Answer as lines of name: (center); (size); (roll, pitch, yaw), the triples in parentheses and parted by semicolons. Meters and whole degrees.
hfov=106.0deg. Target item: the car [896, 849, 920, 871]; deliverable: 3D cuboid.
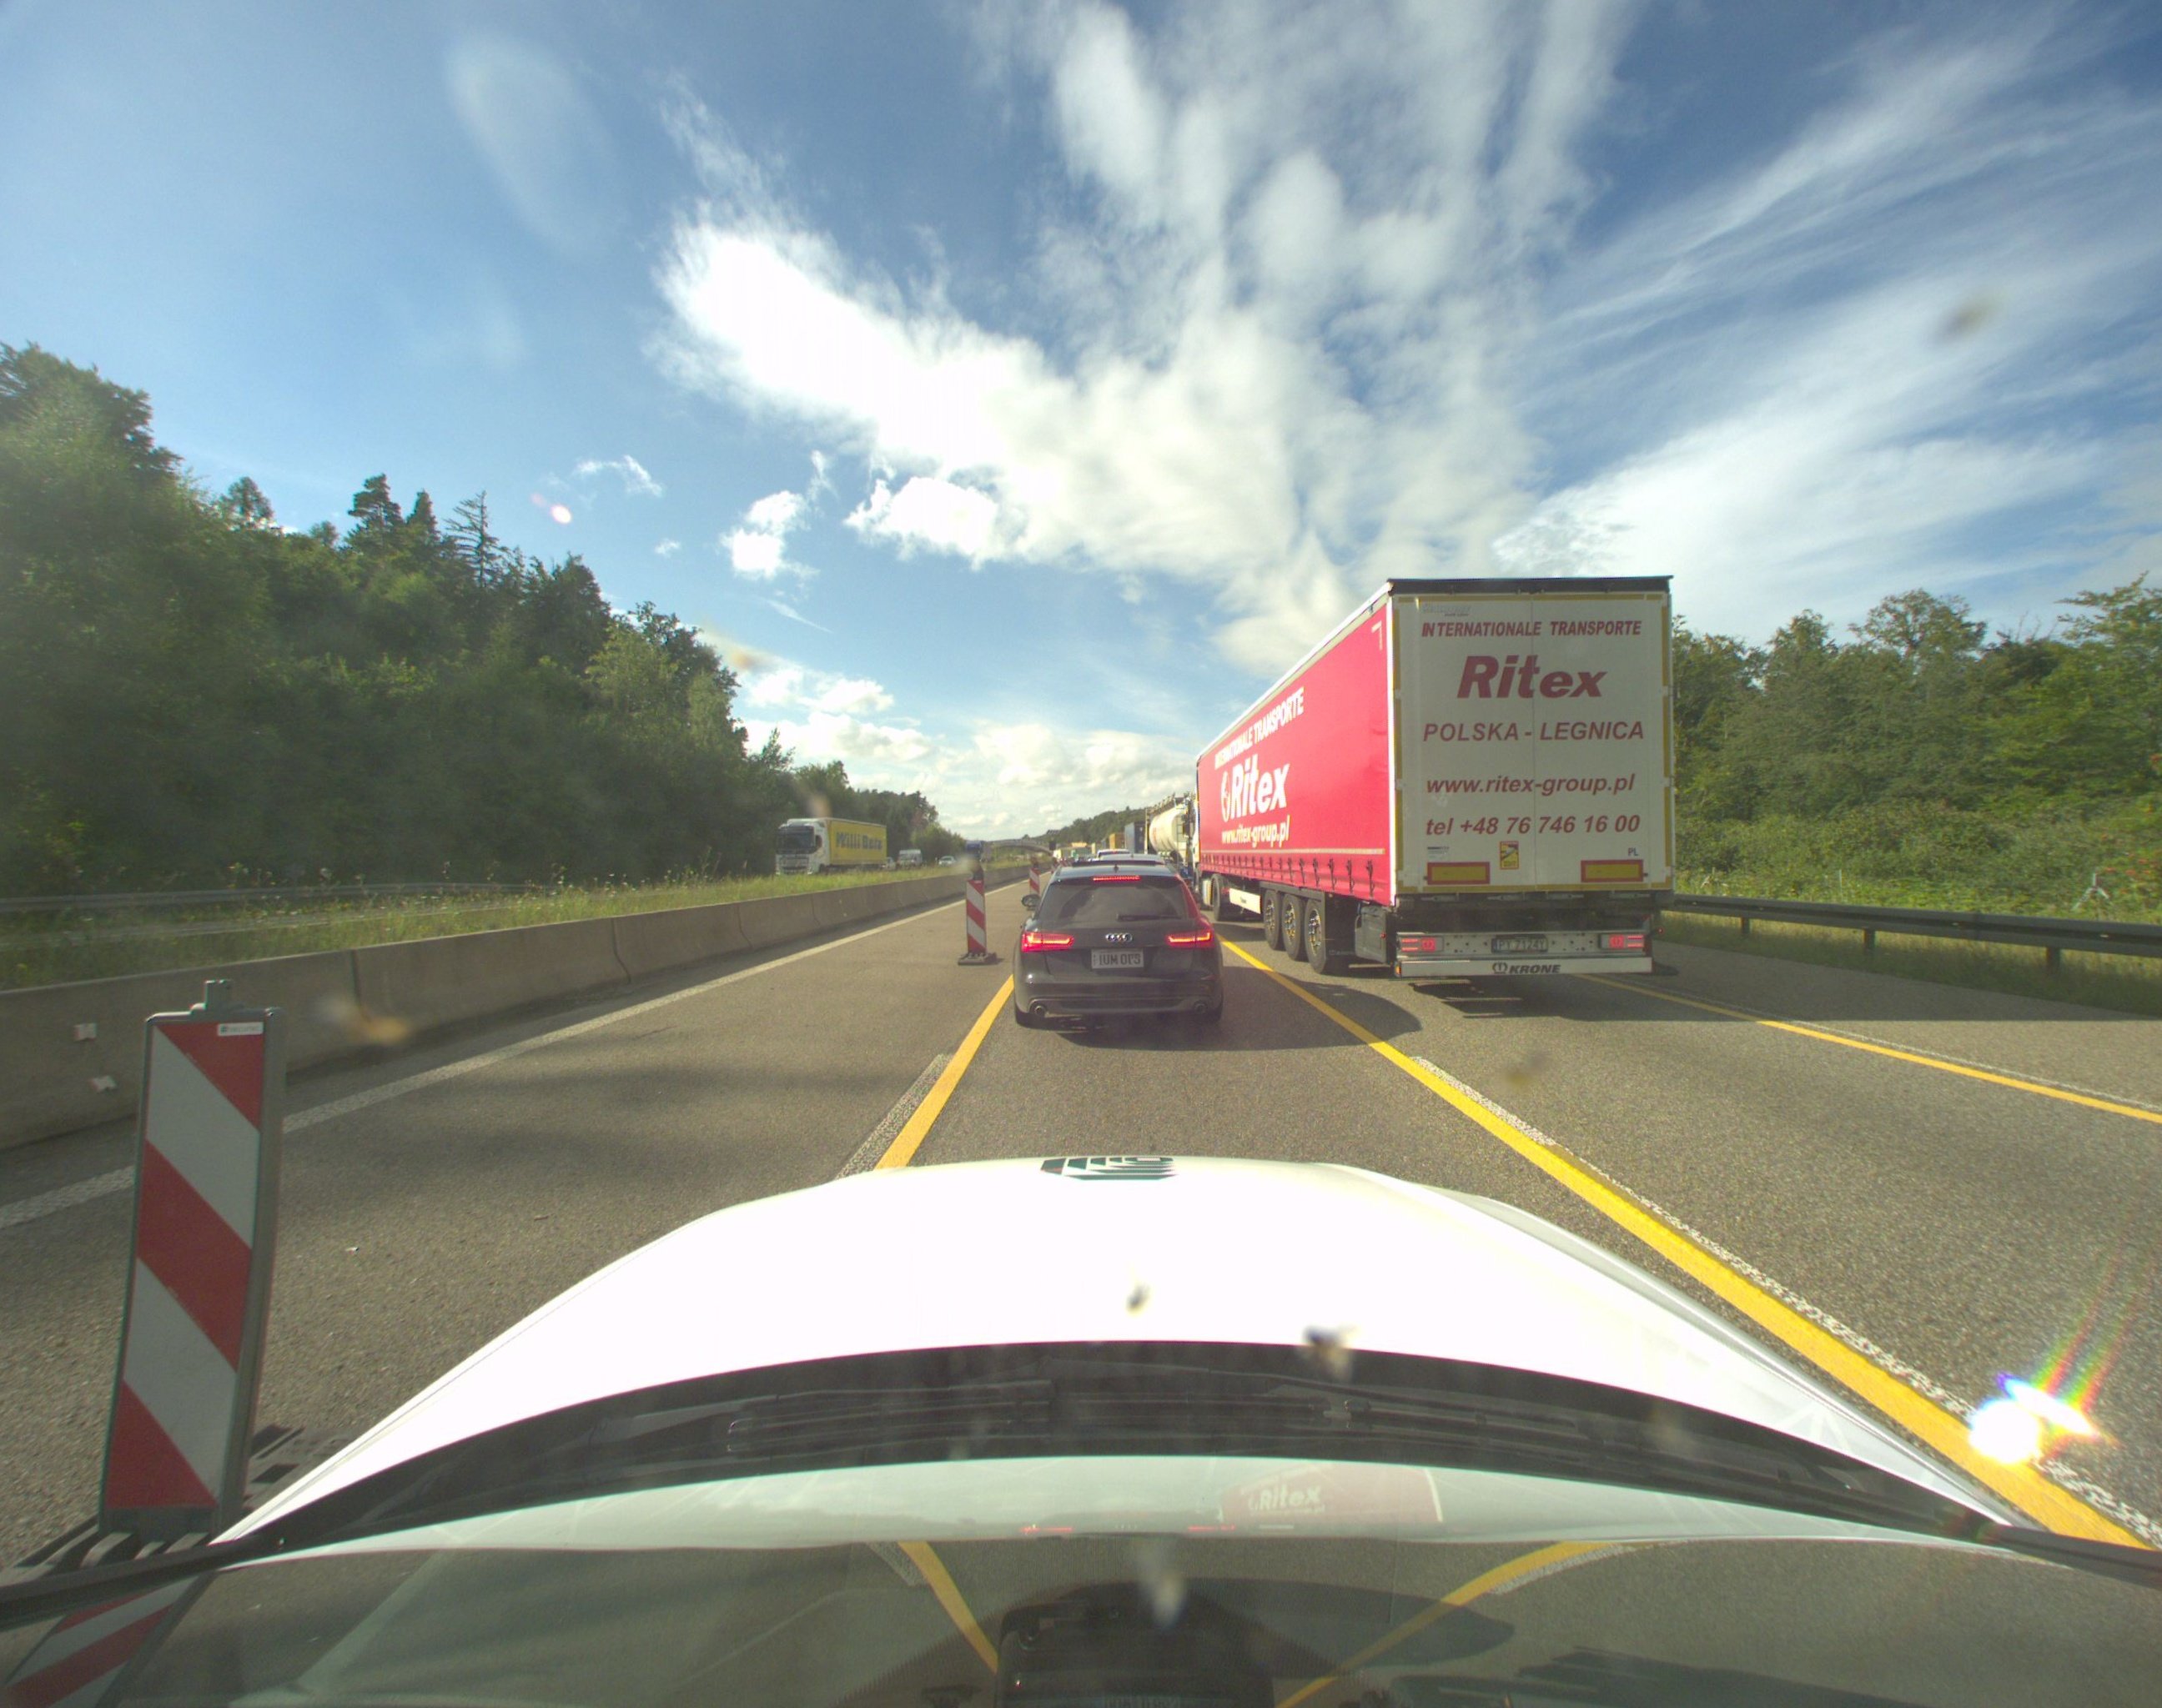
car: (-20.838, 0.742, 98.134); (2.247, 2.643, 5.009); (0, -1, -6)

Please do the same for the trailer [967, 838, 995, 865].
trailer: (-16.231, -0.346, 133.192); (2.610, 4.141, 13.377); (-1, 0, 2)

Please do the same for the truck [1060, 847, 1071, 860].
truck: (-5.037, -0.201, 257.451); (3.296, 4.175, 9.693); (0, 0, -2)

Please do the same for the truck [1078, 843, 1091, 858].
truck: (0.913, -0.944, 223.999); (3.293, 4.175, 9.700); (-1, 0, 0)

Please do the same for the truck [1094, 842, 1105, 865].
truck: (3.640, -0.052, 160.467); (2.130, 4.257, 7.073); (0, -1, 1)

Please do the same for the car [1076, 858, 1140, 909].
car: (0.791, 0.818, 24.094); (1.745, 1.397, 3.609); (0, -1, 2)

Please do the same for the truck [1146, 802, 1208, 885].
truck: (4.831, -0.484, 41.877); (2.649, 3.972, 5.780); (0, -1, 2)

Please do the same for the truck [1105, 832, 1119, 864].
truck: (4.837, -0.920, 128.086); (1.987, 4.914, 9.562); (-1, 0, 0)

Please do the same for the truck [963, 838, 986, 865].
truck: (-16.442, -0.373, 126.459); (2.628, 4.189, 5.469); (-1, 0, 2)

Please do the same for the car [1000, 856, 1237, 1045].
car: (0.355, 0.777, 8.414); (1.842, 1.463, 4.001); (-1, -1, 2)

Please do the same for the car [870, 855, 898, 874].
car: (-21.347, 1.170, 88.274); (1.986, 2.014, 4.001); (0, -1, 2)

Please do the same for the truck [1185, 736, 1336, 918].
truck: (4.289, -0.595, 20.680); (2.658, 3.959, 5.711); (-1, 0, 1)

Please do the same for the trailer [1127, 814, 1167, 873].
trailer: (5.266, -0.745, 66.648); (2.795, 4.413, 10.436); (0, -1, 2)

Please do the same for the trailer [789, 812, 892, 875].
trailer: (-16.777, -0.595, 58.248); (2.817, 3.922, 13.945); (0, -1, 2)

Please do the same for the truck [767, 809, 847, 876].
truck: (-17.010, -0.659, 50.963); (2.816, 3.909, 5.951); (0, -1, 2)

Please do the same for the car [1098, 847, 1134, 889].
car: (1.613, 0.633, 37.547); (1.575, 1.837, 3.113); (0, -1, 2)

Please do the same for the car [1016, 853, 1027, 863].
car: (-11.887, 0.728, 162.465); (1.987, 1.948, 3.999); (0, -1, 0)

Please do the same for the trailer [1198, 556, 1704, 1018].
trailer: (4.148, -0.576, 13.735); (2.690, 3.969, 13.420); (-1, 0, 1)

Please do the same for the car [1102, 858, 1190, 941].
car: (1.189, 0.803, 15.794); (1.518, 1.439, 3.286); (0, -1, 2)

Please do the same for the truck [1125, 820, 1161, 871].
truck: (5.486, -0.691, 73.283); (2.795, 4.370, 7.794); (0, -1, 2)

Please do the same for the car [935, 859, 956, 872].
car: (-16.596, 1.398, 100.179); (1.780, 1.560, 4.001); (0, -1, 2)

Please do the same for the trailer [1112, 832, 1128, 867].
trailer: (4.523, -0.484, 94.721); (1.611, 3.918, 6.490); (0, -1, 1)

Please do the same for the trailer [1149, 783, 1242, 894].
trailer: (4.607, -0.537, 35.349); (2.634, 3.943, 12.602); (0, 0, 2)
